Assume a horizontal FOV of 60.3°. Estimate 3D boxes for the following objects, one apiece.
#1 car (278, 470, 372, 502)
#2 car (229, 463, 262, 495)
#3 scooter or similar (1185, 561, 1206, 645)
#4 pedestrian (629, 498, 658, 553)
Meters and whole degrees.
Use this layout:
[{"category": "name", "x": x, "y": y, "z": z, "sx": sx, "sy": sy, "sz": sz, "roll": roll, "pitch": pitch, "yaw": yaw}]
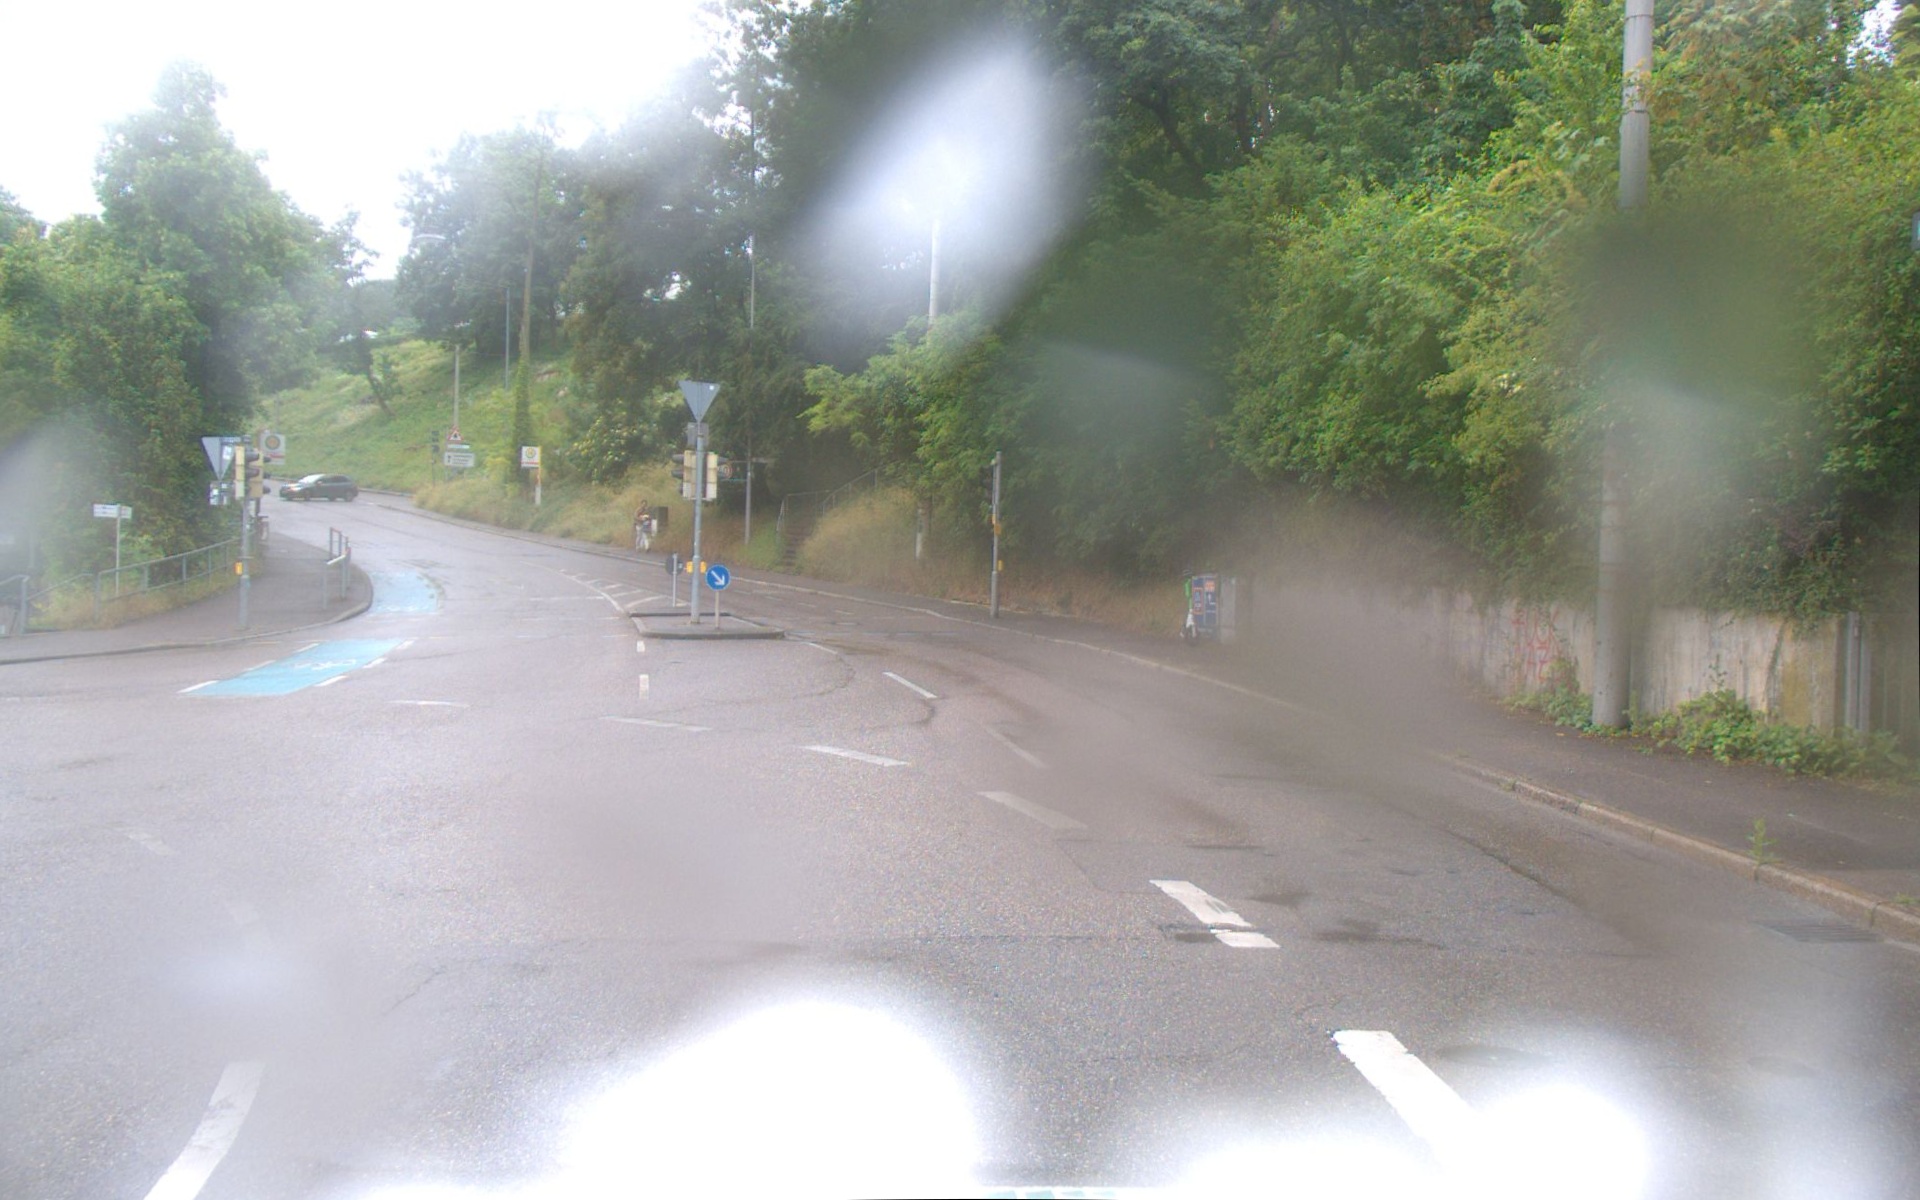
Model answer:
[{"category": "car", "x": -34.687, "y": -6.234, "z": 90.422, "sx": 1.929, "sy": 1.538, "sz": 4.376, "roll": 5, "pitch": 4, "yaw": 43}, {"category": "car", "x": -52.268, "y": -8.821, "z": 121.048, "sx": 2.037, "sy": 2.041, "sz": 4.784, "roll": 0, "pitch": 1, "yaw": -22}, {"category": "scooter or similar", "x": 3.774, "y": 0.035, "z": 26.544, "sx": 0.315, "sy": 1.302, "sz": 0.752, "roll": 0, "pitch": 3, "yaw": 7}, {"category": "pedestrian", "x": -10.711, "y": -2.515, "z": 55.938, "sx": 0.867, "sy": 1.767, "sz": 0.861, "roll": 1, "pitch": -1, "yaw": -18}]
